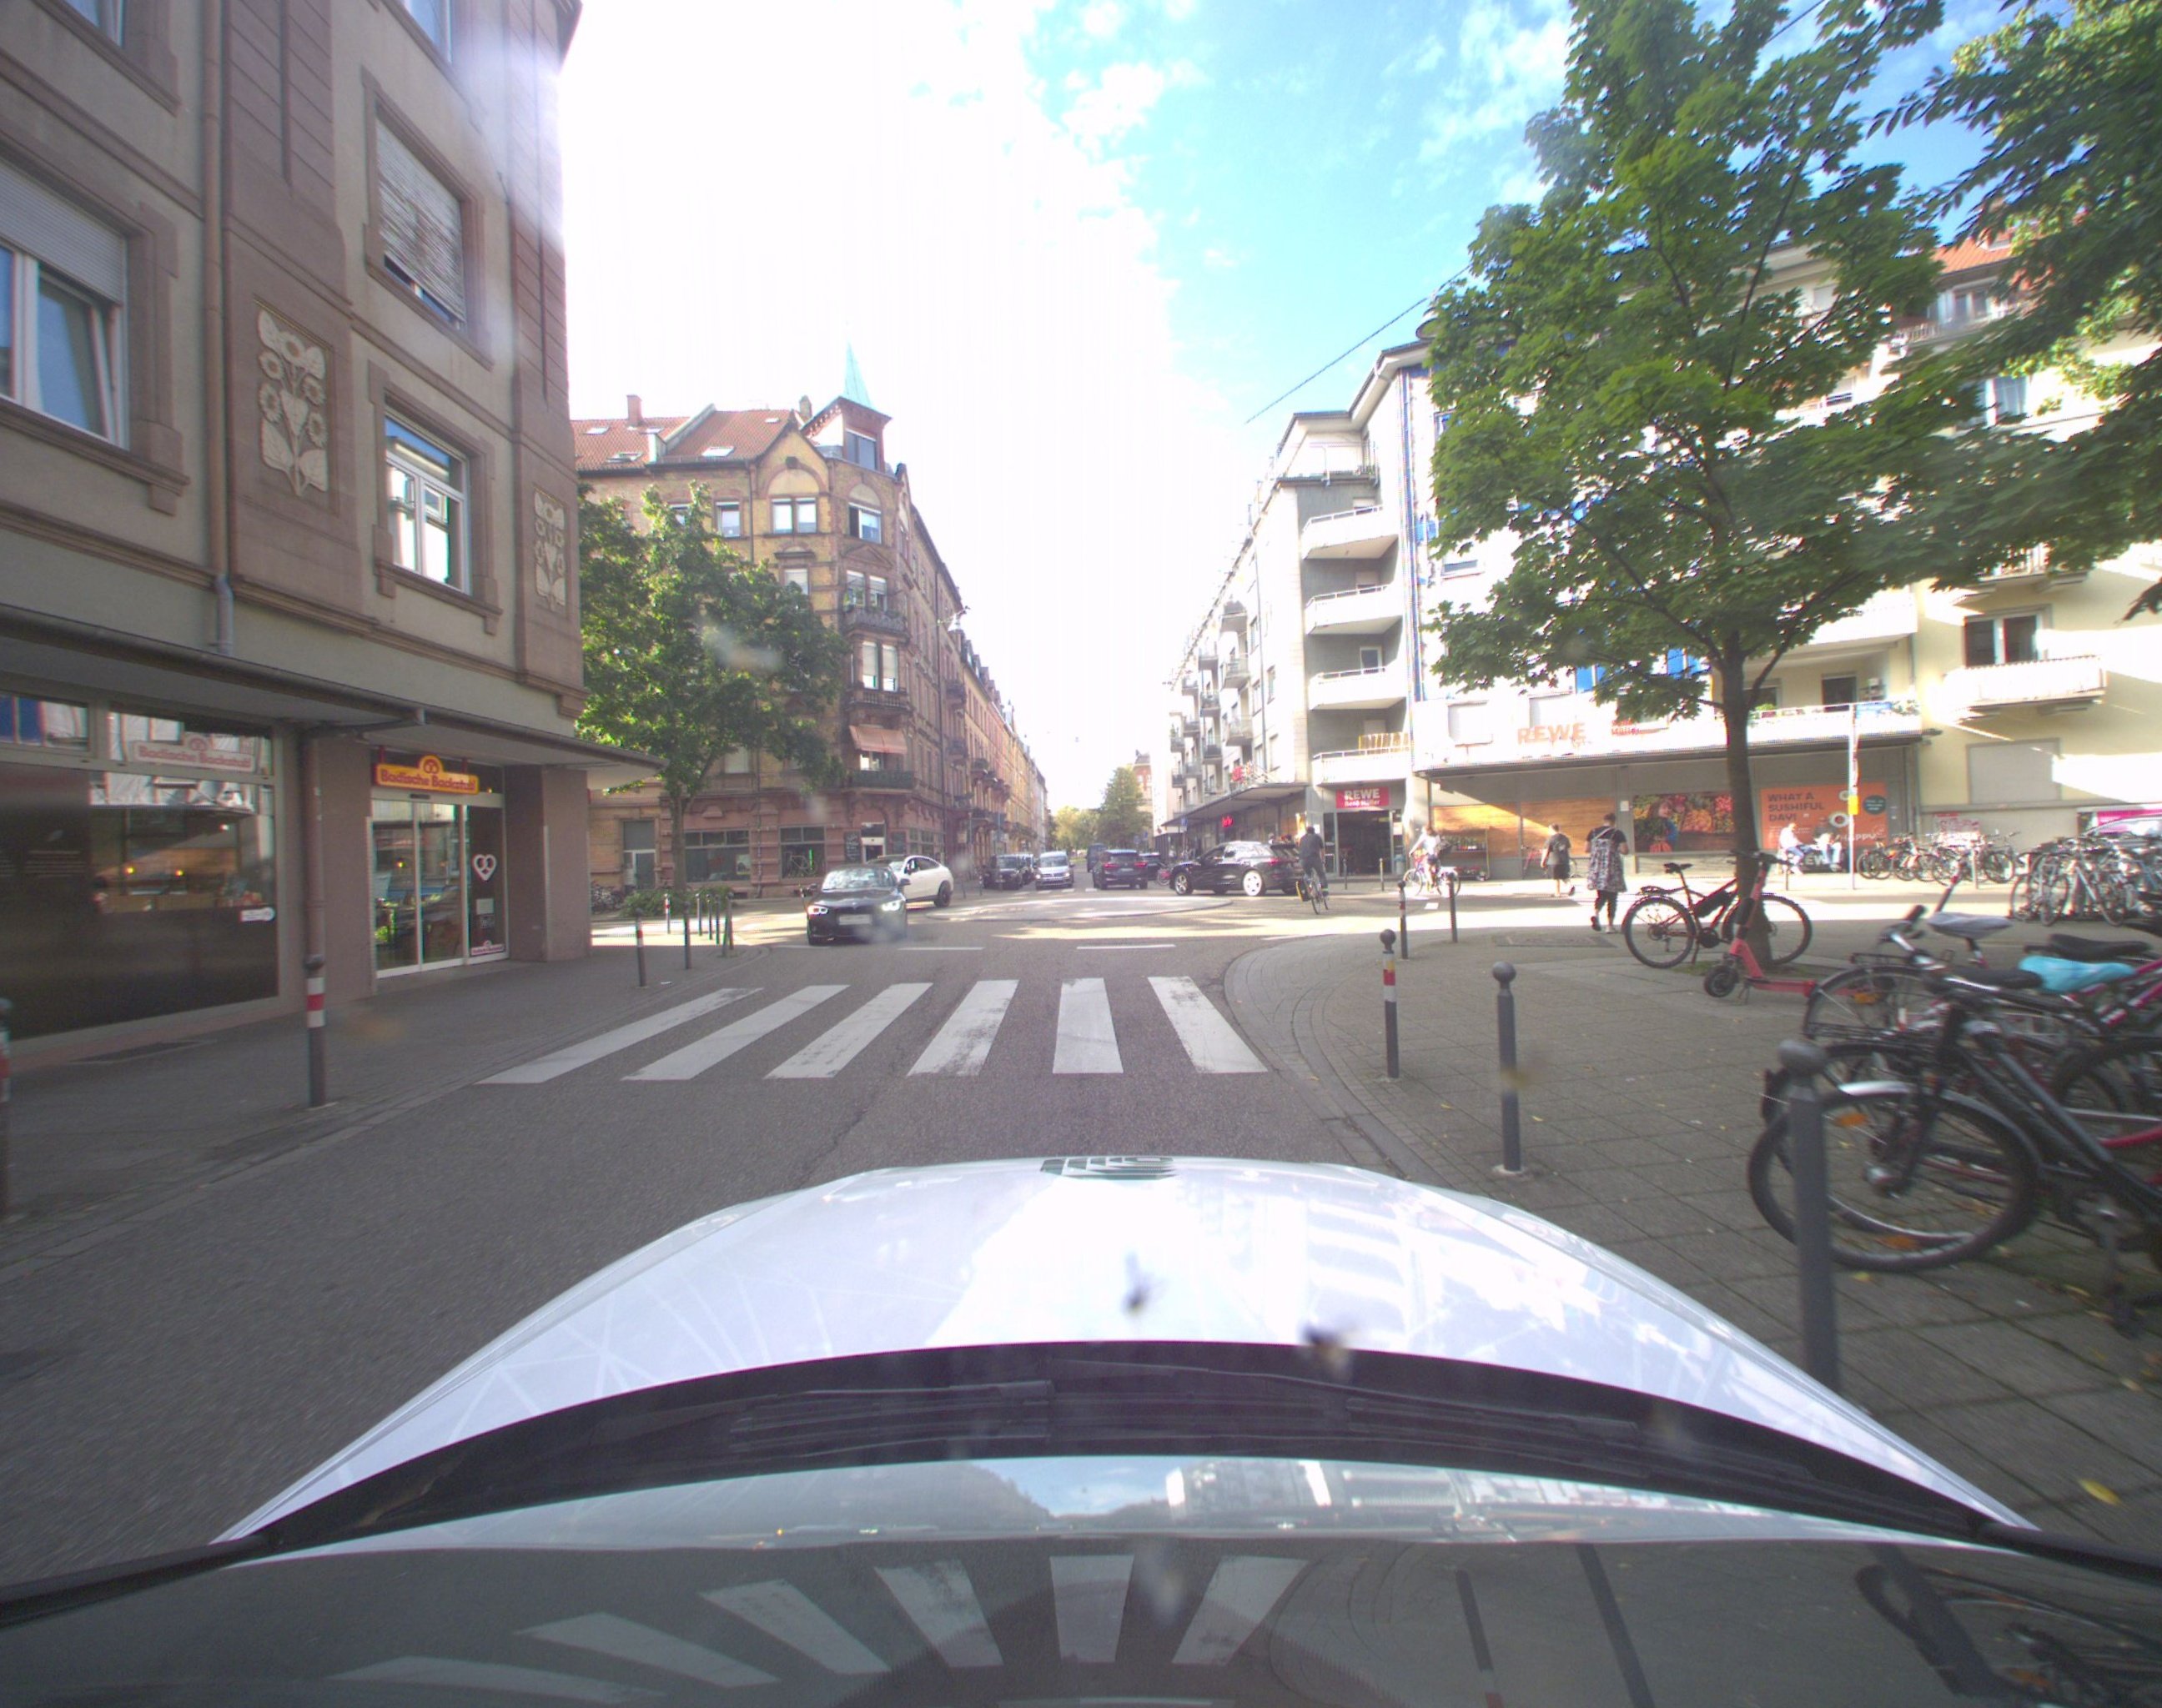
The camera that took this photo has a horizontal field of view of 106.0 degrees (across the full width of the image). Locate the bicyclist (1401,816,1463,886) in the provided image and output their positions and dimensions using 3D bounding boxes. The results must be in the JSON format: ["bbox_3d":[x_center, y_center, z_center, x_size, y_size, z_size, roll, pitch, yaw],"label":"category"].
[{"bbox_3d":[8.690,-0.079,20.183,0.947,1.668,1.005,-2,0,-33],"label":"bicyclist"}]

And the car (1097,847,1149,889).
[{"bbox_3d":[1.745,0.570,34.824,1.987,1.618,3.999,-2,0,0],"label":"car"}]

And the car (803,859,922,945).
[{"bbox_3d":[-4.158,0.862,16.128,1.749,1.436,4.199,-1,-1,-8],"label":"car"}]

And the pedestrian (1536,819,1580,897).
[{"bbox_3d":[11.059,0.088,18.901,0.624,1.739,0.778,-2,0,12],"label":"pedestrian"}]

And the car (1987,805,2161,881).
[{"bbox_3d":[22.364,-0.250,17.132,1.992,1.510,3.990,-2,0,-7],"label":"car"}]

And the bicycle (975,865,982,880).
[{"bbox_3d":[-7.246,1.298,57.462,0.359,0.947,1.713,-1,0,-4],"label":"bicycle"}]

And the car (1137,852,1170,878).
[{"bbox_3d":[4.244,0.629,47.810,1.639,1.324,3.578,-5,0,2],"label":"car"}]

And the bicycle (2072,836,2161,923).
[{"bbox_3d":[13.799,0.313,10.702,0.337,1.053,2.054,-3,-2,33],"label":"bicycle"}]

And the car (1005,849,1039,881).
[{"bbox_3d":[-3.917,0.711,54.564,1.988,2.013,3.997,-3,0,-2],"label":"car"}]

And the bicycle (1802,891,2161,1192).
[{"bbox_3d":[4.036,0.682,3.059,0.446,1.040,1.888,-5,0,-29],"label":"bicycle"}]

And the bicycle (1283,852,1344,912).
[{"bbox_3d":[5.015,0.558,17.446,0.659,1.178,2.512,-1,0,30],"label":"bicycle"}]

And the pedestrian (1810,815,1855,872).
[{"bbox_3d":[20.692,-0.290,22.446,0.740,1.550,0.736,0,1,26],"label":"pedestrian"}]

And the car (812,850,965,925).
[{"bbox_3d":[-5.440,0.884,23.804,1.926,1.722,4.874,-3,1,19],"label":"car"}]

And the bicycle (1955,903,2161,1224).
[{"bbox_3d":[3.965,0.696,2.384,0.349,1.040,1.840,-5,0,-27],"label":"bicycle"}]

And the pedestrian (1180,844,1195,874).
[{"bbox_3d":[6.673,0.317,50.898,0.725,1.864,1.067,-2,0,15],"label":"pedestrian"}]

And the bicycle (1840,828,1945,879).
[{"bbox_3d":[19.670,-0.015,19.753,2.072,1.141,0.435,-3,0,0],"label":"bicycle"}]

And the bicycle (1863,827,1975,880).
[{"bbox_3d":[19.743,-0.019,19.199,2.132,1.141,0.485,-3,0,0],"label":"bicycle"}]

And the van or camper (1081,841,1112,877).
[{"bbox_3d":[1.380,0.416,73.745,2.525,3.037,4.455,-2,0,-2],"label":"van or camper"}]

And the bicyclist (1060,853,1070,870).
[{"bbox_3d":[-1.854,0.844,95.532,1.131,1.998,1.026,0,-1,-4],"label":"bicyclist"}]

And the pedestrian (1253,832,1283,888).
[{"bbox_3d":[6.380,0.192,27.825,0.864,1.851,0.613,-2,0,5],"label":"pedestrian"}]

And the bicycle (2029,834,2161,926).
[{"bbox_3d":[13.368,0.338,10.774,0.475,1.104,2.039,-3,-2,33],"label":"bicycle"}]

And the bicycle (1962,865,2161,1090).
[{"bbox_3d":[5.286,0.583,3.889,0.453,1.040,1.372,-2,0,-30],"label":"bicycle"}]

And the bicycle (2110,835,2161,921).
[{"bbox_3d":[14.113,0.301,10.421,0.475,1.090,2.099,-3,-1,33],"label":"bicycle"}]

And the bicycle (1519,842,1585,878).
[{"bbox_3d":[14.530,0.184,25.148,1.663,1.050,0.461,-2,0,40],"label":"bicycle"}]

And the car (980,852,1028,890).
[{"bbox_3d":[-3.920,0.840,42.222,1.775,1.724,4.449,-1,1,3],"label":"car"}]

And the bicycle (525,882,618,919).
[{"bbox_3d":[-18.725,1.704,29.983,2.890,1.190,0.632,-3,0,-4],"label":"bicycle"}]

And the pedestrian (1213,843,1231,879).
[{"bbox_3d":[6.712,0.327,38.694,0.740,1.629,0.815,-2,0,11],"label":"pedestrian"}]

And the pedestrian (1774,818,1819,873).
[{"bbox_3d":[19.870,-0.230,22.627,0.743,1.479,0.590,-3,0,25],"label":"pedestrian"}]

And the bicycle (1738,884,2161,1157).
[{"bbox_3d":[4.211,0.676,3.646,0.391,1.040,1.903,-5,0,-29],"label":"bicycle"}]

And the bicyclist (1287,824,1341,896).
[{"bbox_3d":[4.960,0.137,17.298,0.924,1.484,0.752,-1,-1,29],"label":"bicyclist"}]

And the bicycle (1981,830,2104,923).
[{"bbox_3d":[12.964,0.303,11.047,0.424,1.156,2.010,-3,-2,31],"label":"bicycle"}]

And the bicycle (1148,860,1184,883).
[{"bbox_3d":[4.197,0.851,40.192,1.799,1.027,0.673,-2,0,-38],"label":"bicycle"}]

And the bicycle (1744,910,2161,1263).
[{"bbox_3d":[3.473,0.746,2.654,0.349,1.040,2.000,-5,0,-27],"label":"bicycle"}]

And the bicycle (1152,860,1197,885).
[{"bbox_3d":[4.265,0.827,37.330,1.992,1.045,0.532,-2,0,2],"label":"bicycle"}]

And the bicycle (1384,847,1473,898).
[{"bbox_3d":[8.644,0.454,20.339,0.714,1.199,1.956,-2,0,-30],"label":"bicycle"}]

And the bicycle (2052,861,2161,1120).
[{"bbox_3d":[5.007,0.555,2.978,0.355,1.074,1.781,-5,0,-29],"label":"bicycle"}]

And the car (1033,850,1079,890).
[{"bbox_3d":[-1.184,0.750,40.605,1.785,1.790,4.740,-3,0,3],"label":"car"}]

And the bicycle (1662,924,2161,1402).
[{"bbox_3d":[2.737,0.770,2.146,0.551,1.040,1.839,-5,0,-29],"label":"bicycle"}]

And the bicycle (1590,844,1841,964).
[{"bbox_3d":[6.292,0.485,8.151,1.915,1.094,0.653,-2,0,4],"label":"bicycle"}]

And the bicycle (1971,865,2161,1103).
[{"bbox_3d":[5.033,0.577,3.561,0.337,1.040,1.443,-5,0,-29],"label":"bicycle"}]

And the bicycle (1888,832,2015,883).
[{"bbox_3d":[19.800,0.075,18.550,2.049,1.032,0.753,-3,0,1],"label":"bicycle"}]

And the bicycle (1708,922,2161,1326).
[{"bbox_3d":[3.123,0.784,2.473,0.462,1.040,1.839,-5,0,-29],"label":"bicycle"}]

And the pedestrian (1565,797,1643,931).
[{"bbox_3d":[7.300,0.129,11.357,0.774,1.779,0.798,-3,0,38],"label":"pedestrian"}]

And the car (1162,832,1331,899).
[{"bbox_3d":[4.884,0.355,24.711,2.052,1.724,4.791,-5,2,-37],"label":"car"}]

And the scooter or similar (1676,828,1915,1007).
[{"bbox_3d":[5.513,0.471,6.377,1.233,1.274,0.668,-2,0,24],"label":"scooter or similar"}]

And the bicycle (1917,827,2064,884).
[{"bbox_3d":[19.703,0.027,17.664,2.309,1.141,0.753,-2,0,1],"label":"bicycle"}]

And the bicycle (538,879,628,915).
[{"bbox_3d":[-18.762,1.620,30.719,2.890,1.197,0.632,-3,0,-4],"label":"bicycle"}]

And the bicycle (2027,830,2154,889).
[{"bbox_3d":[20.101,0.107,16.240,1.545,1.141,0.578,0,0,16],"label":"bicycle"}]

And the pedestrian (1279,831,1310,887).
[{"bbox_3d":[7.255,0.168,27.735,0.864,1.851,0.613,-2,0,5],"label":"pedestrian"}]
